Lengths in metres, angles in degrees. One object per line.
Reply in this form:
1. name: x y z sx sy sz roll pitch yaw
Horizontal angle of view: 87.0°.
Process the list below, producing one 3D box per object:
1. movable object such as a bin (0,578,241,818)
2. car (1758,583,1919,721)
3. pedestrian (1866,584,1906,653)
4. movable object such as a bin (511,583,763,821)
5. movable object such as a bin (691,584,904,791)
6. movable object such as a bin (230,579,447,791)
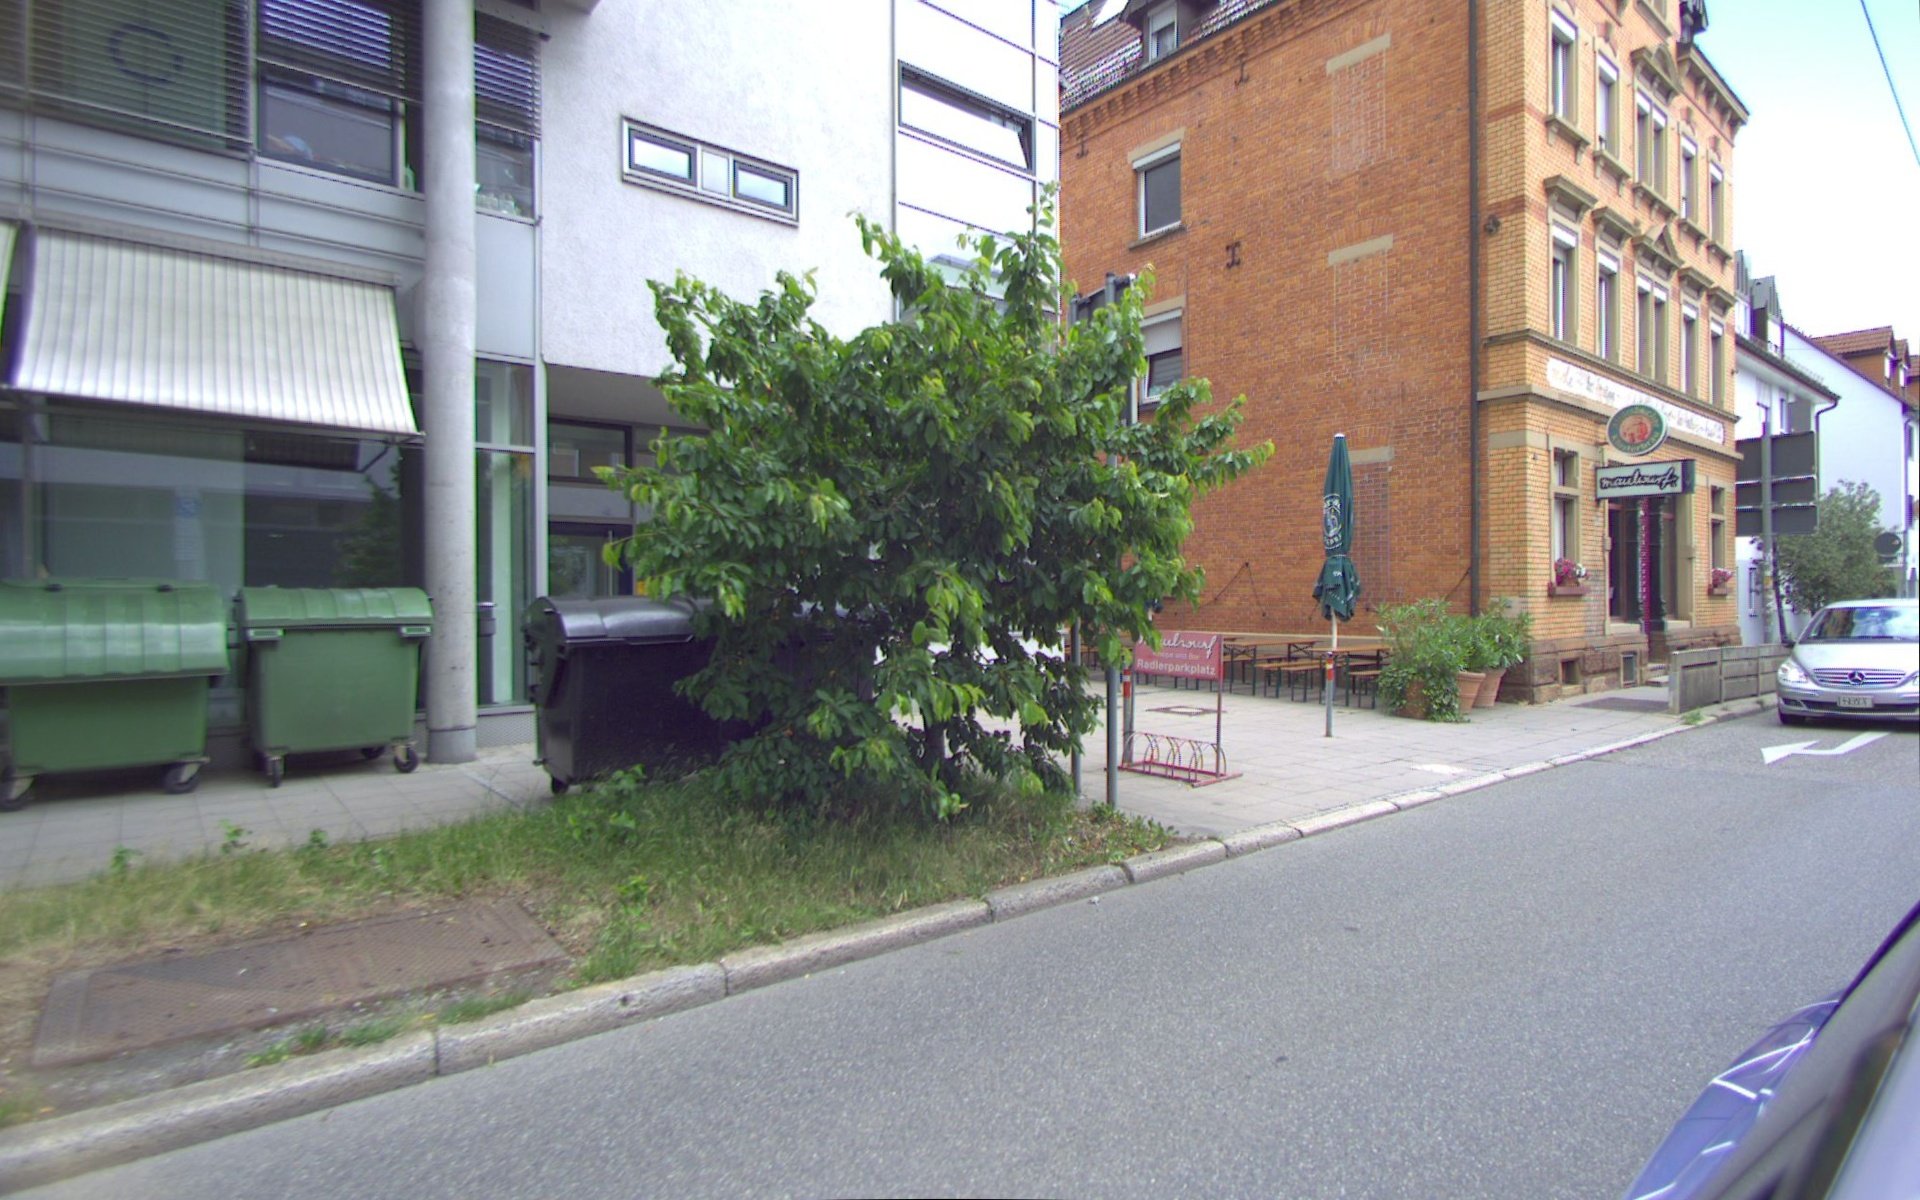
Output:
1. movable object such as a bin: -5.918 0.601 7.118 1.310 1.484 1.100 0 1 -41
2. car: 12.363 0.597 13.248 4.488 1.566 1.997 0 -2 -39
3. pedestrian: 23.844 0.460 26.059 0.638 1.753 0.689 0 0 -41
4. movable object such as a bin: -2.309 0.630 7.246 1.388 1.484 1.129 0 1 -41
5. movable object such as a bin: -1.312 0.620 8.155 1.310 1.484 1.100 0 1 -41
6. movable object such as a bin: -4.919 0.587 8.007 1.310 1.484 1.124 0 1 -41
